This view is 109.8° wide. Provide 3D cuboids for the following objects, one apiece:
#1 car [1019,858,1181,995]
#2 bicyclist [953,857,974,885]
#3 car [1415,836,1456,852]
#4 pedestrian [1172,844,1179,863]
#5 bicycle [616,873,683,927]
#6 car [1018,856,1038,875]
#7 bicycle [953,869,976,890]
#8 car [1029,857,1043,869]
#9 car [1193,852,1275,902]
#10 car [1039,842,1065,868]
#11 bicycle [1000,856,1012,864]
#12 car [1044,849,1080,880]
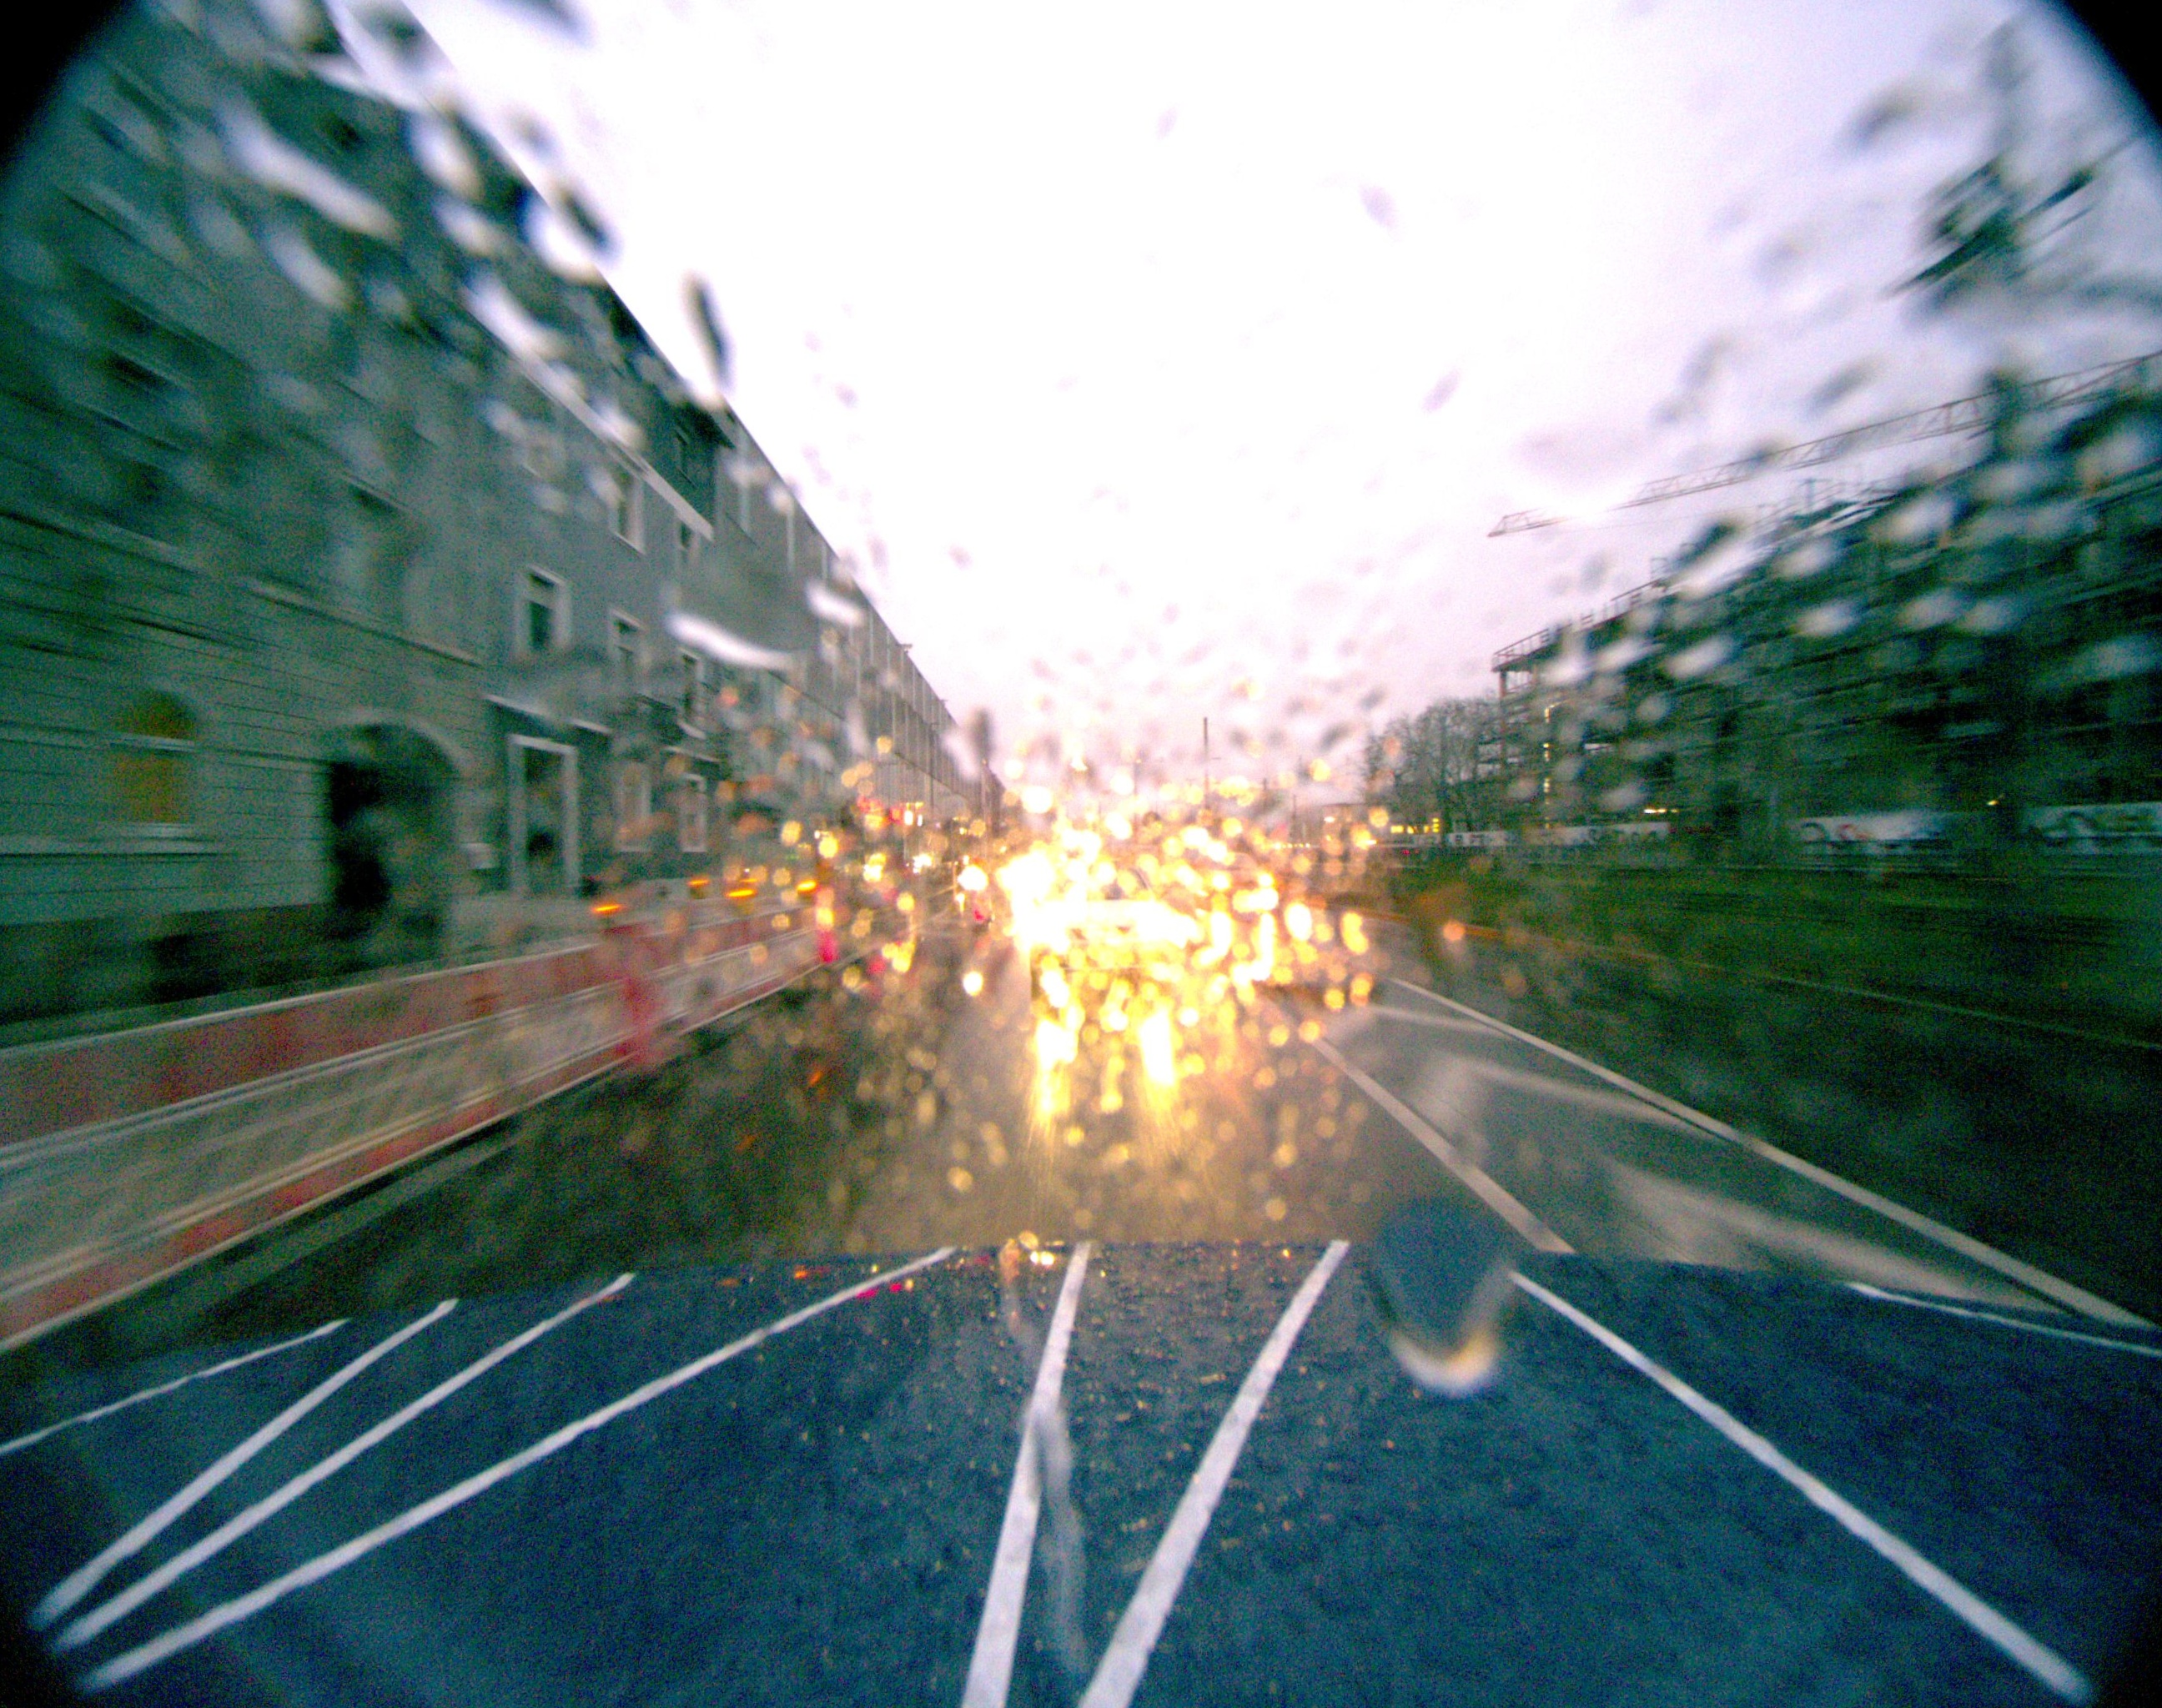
[{"bbox_3d":[0.203,0.844,10.786,1.814,1.464,4.138,-2,1,-1],"label":"car"},{"bbox_3d":[-6.325,0.903,41.100,0.945,1.454,1.066,-2,1,-1],"label":"bicyclist"},{"bbox_3d":[33.234,-0.888,71.310,1.687,1.406,4.339,-2,0,-2],"label":"car"},{"bbox_3d":[8.775,-0.046,70.493,0.585,1.692,0.740,-1,1,8],"label":"pedestrian"},{"bbox_3d":[-10.938,1.134,19.317,0.684,1.215,1.904,2,1,-3],"label":"bicycle"},{"bbox_3d":[-5.782,1.226,83.275,1.999,2.002,3.999,-1,1,-2],"label":"car"},{"bbox_3d":[-6.291,1.378,41.121,0.945,0.993,2.240,-2,0,-1],"label":"bicycle"},{"bbox_3d":[-6.477,1.292,110.097,1.868,1.652,3.985,-1,1,-2],"label":"car"},{"bbox_3d":[4.747,0.669,24.098,1.809,1.444,4.004,0,0,0],"label":"car"},{"bbox_3d":[-2.216,0.076,58.680,1.865,1.867,3.999,-2,1,-1],"label":"car"},{"bbox_3d":[-11.832,0.915,119.493,1.908,1.168,0.666,1,1,-3],"label":"bicycle"},{"bbox_3d":[-1.105,0.586,45.339,1.999,1.673,3.999,-2,1,-1],"label":"car"}]
